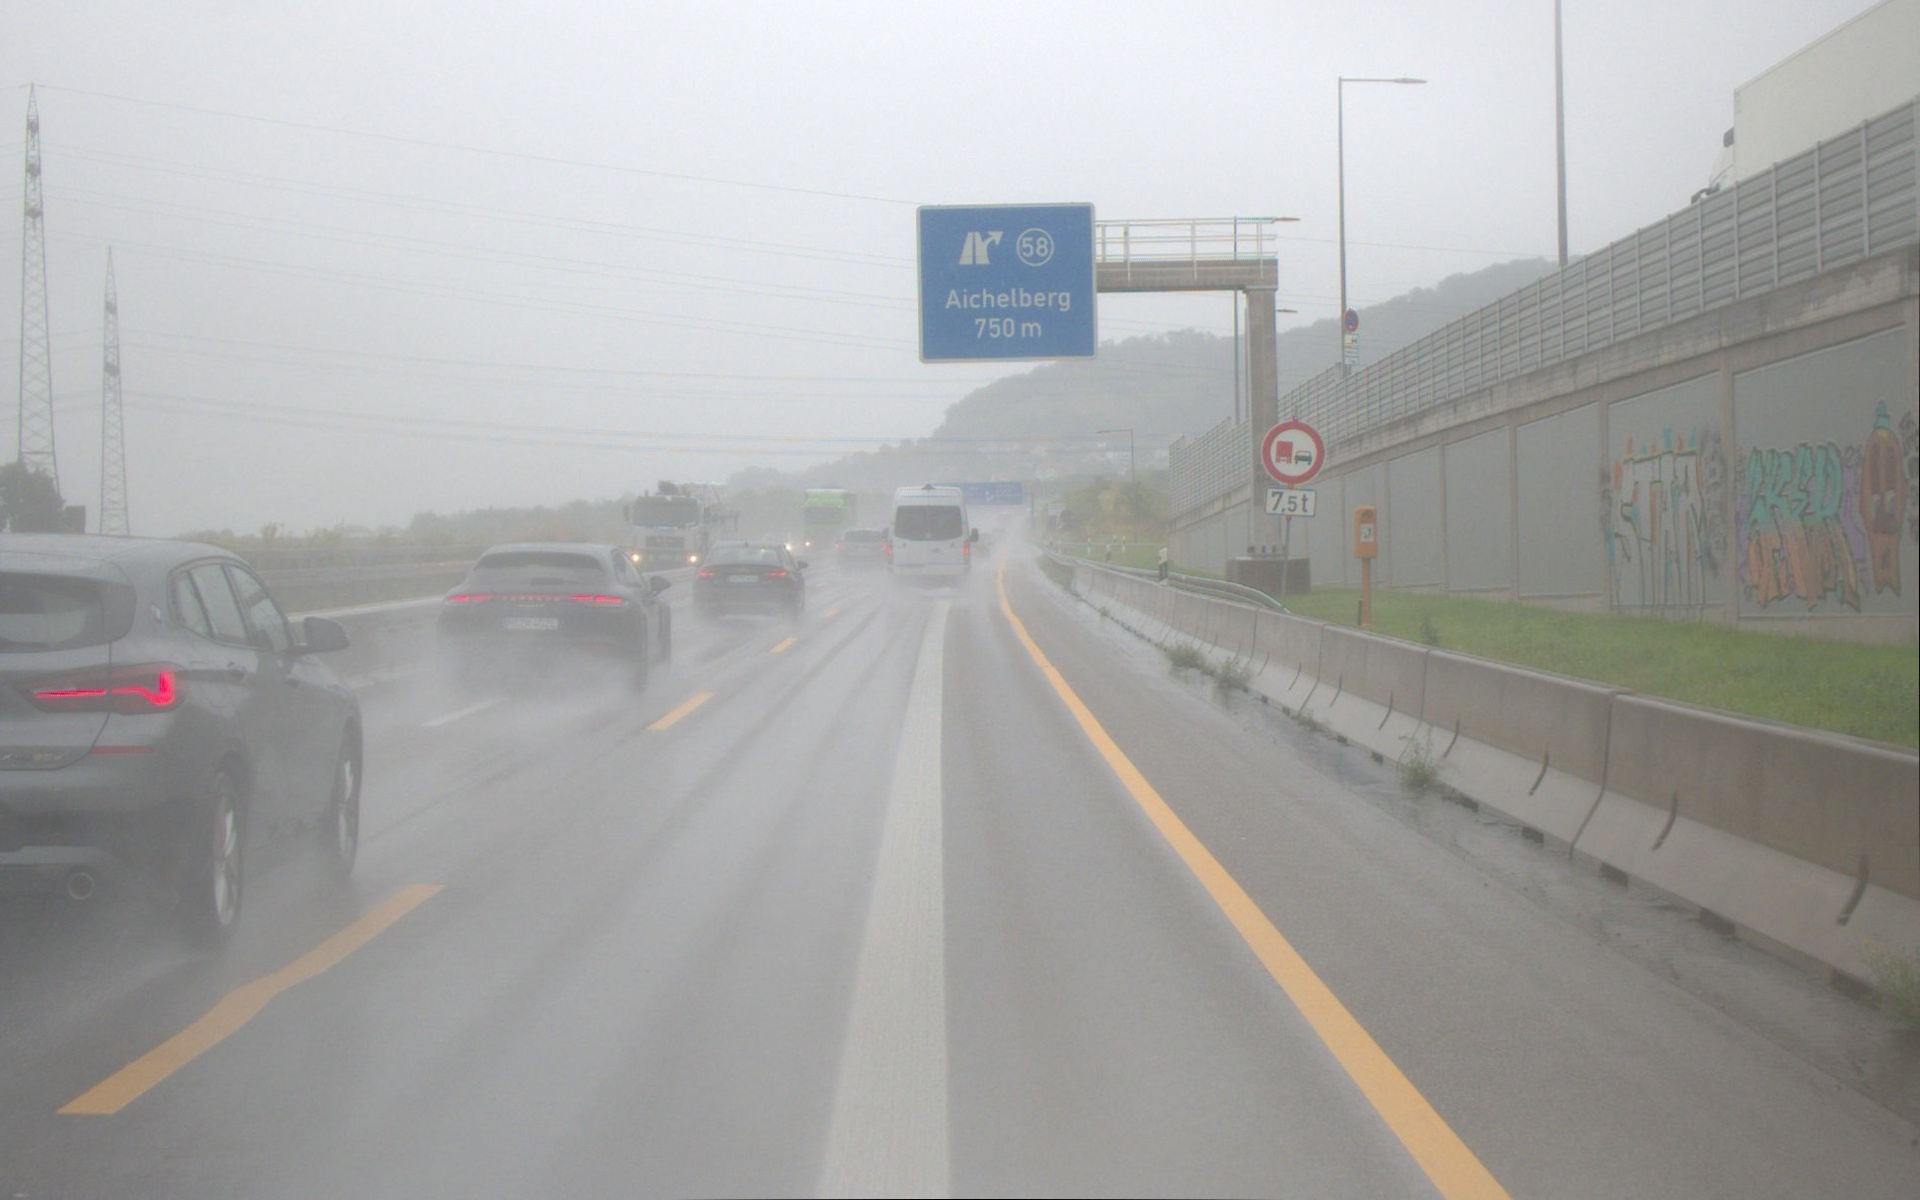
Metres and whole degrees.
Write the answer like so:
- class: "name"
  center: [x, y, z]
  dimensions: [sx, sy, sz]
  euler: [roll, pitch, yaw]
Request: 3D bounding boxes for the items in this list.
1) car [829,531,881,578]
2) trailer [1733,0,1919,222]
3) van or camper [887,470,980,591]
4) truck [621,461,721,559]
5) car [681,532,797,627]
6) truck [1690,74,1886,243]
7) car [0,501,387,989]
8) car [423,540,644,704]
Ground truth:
- class: "car"
  center: [-3.606, -1.546, 117.671]
  dimensions: [1.566, 1.475, 2.822]
  euler: [-2, 0, -5]
- class: "trailer"
  center: [12.382, -6.652, 43.953]
  dimensions: [1.993, 2.099, 13.768]
  euler: [0, 0, 0]
- class: "van or camper"
  center: [-0.656, -1.620, 81.570]
  dimensions: [1.996, 2.768, 4.050]
  euler: [0, 0, -3]
- class: "truck"
  center: [-10.178, -3.177, 121.998]
  dimensions: [2.639, 3.336, 9.553]
  euler: [0, 1, 0]
- class: "car"
  center: [-3.761, -0.380, 58.877]
  dimensions: [1.844, 1.486, 4.262]
  euler: [-2, 1, -3]
- class: "truck"
  center: [12.394, -6.594, 51.692]
  dimensions: [1.993, 2.007, 4.058]
  euler: [0, 0, 0]
- class: "car"
  center: [-3.410, 0.476, 13.634]
  dimensions: [1.700, 1.592, 4.846]
  euler: [0, 0, -3]
- class: "car"
  center: [-4.099, 0.207, 33.602]
  dimensions: [1.844, 1.486, 4.262]
  euler: [0, 0, -3]
